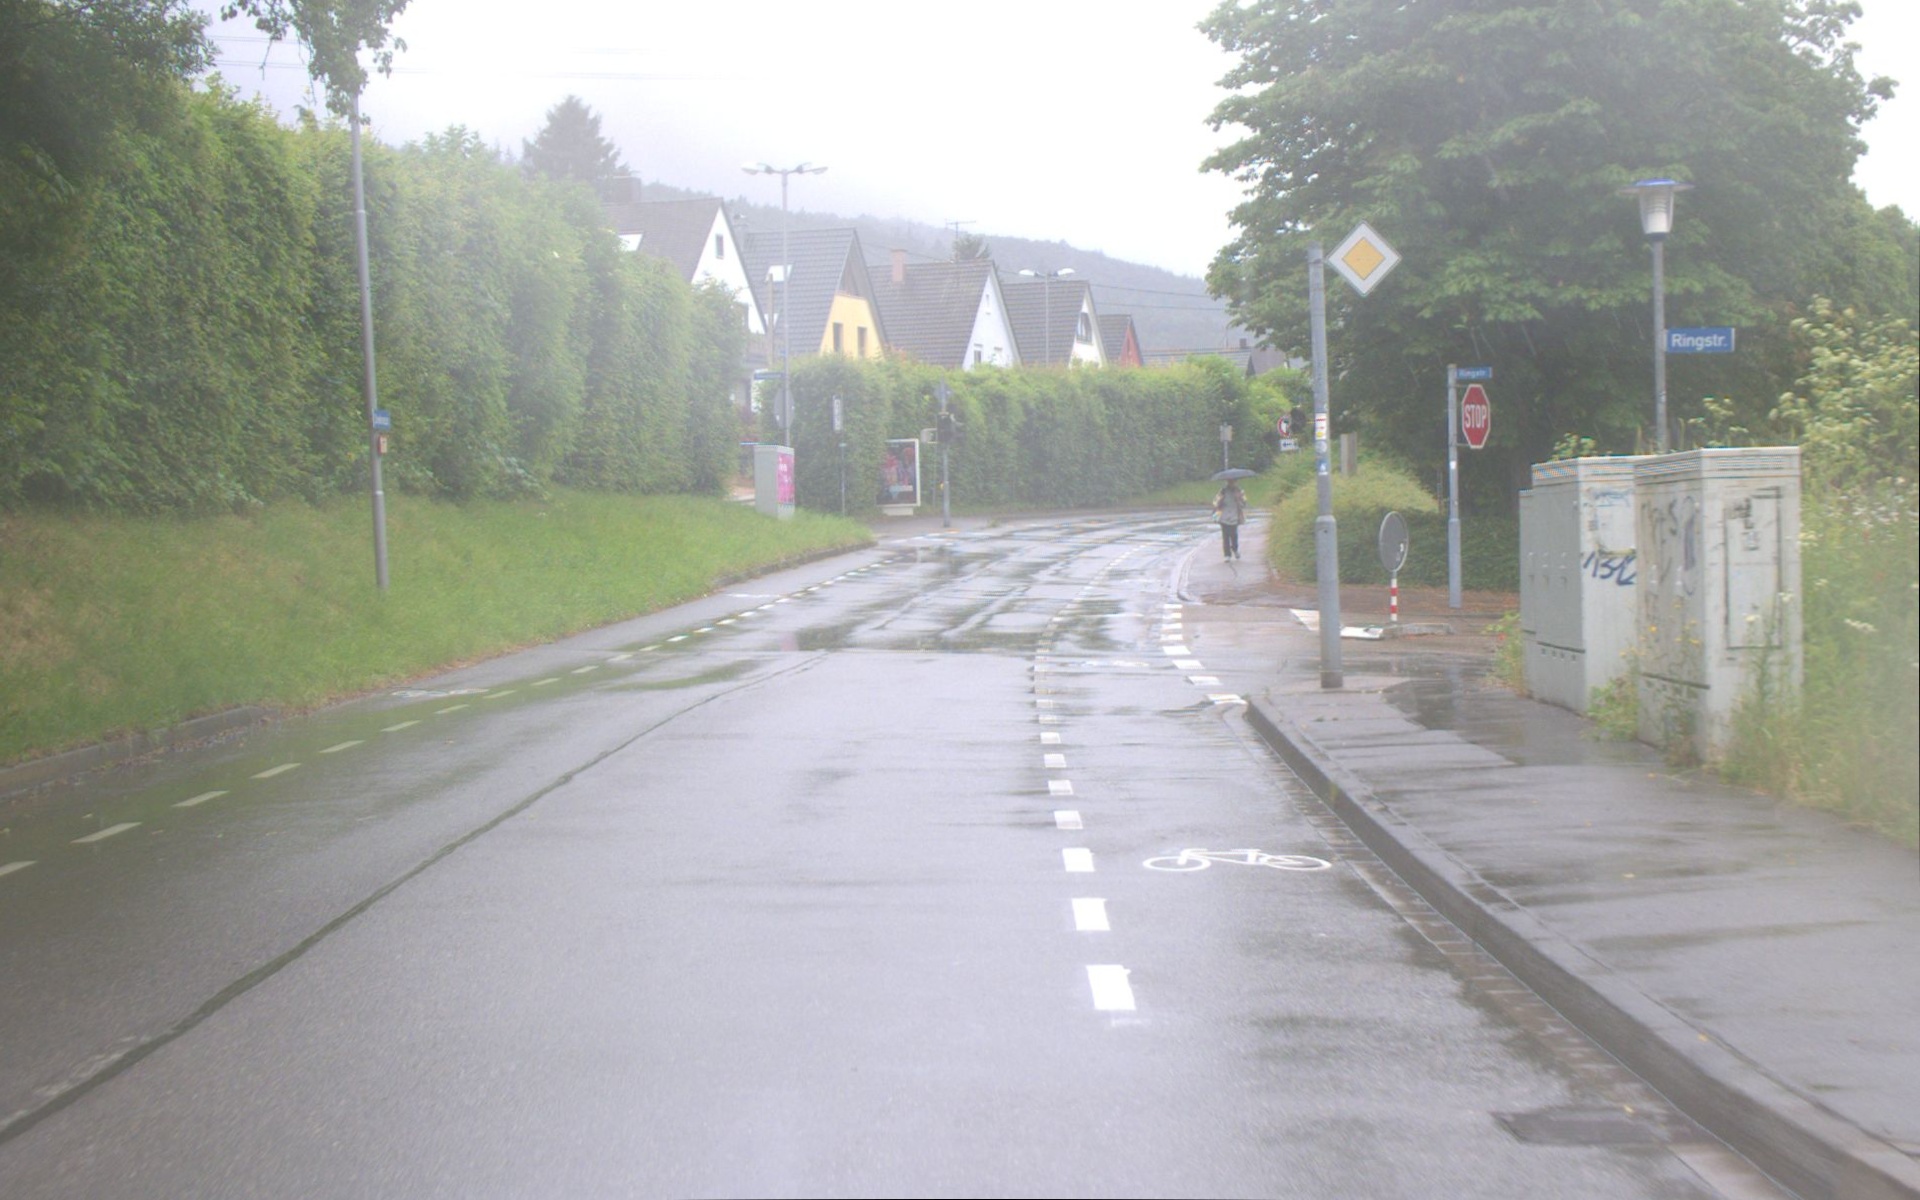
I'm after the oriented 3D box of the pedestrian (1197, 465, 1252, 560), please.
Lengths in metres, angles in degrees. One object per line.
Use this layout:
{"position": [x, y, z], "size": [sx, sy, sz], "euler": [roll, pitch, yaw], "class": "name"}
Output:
{"position": [4.778, -1.580, 62.014], "size": [0.920, 1.669, 1.057], "euler": [-2, 2, 5], "class": "pedestrian"}
